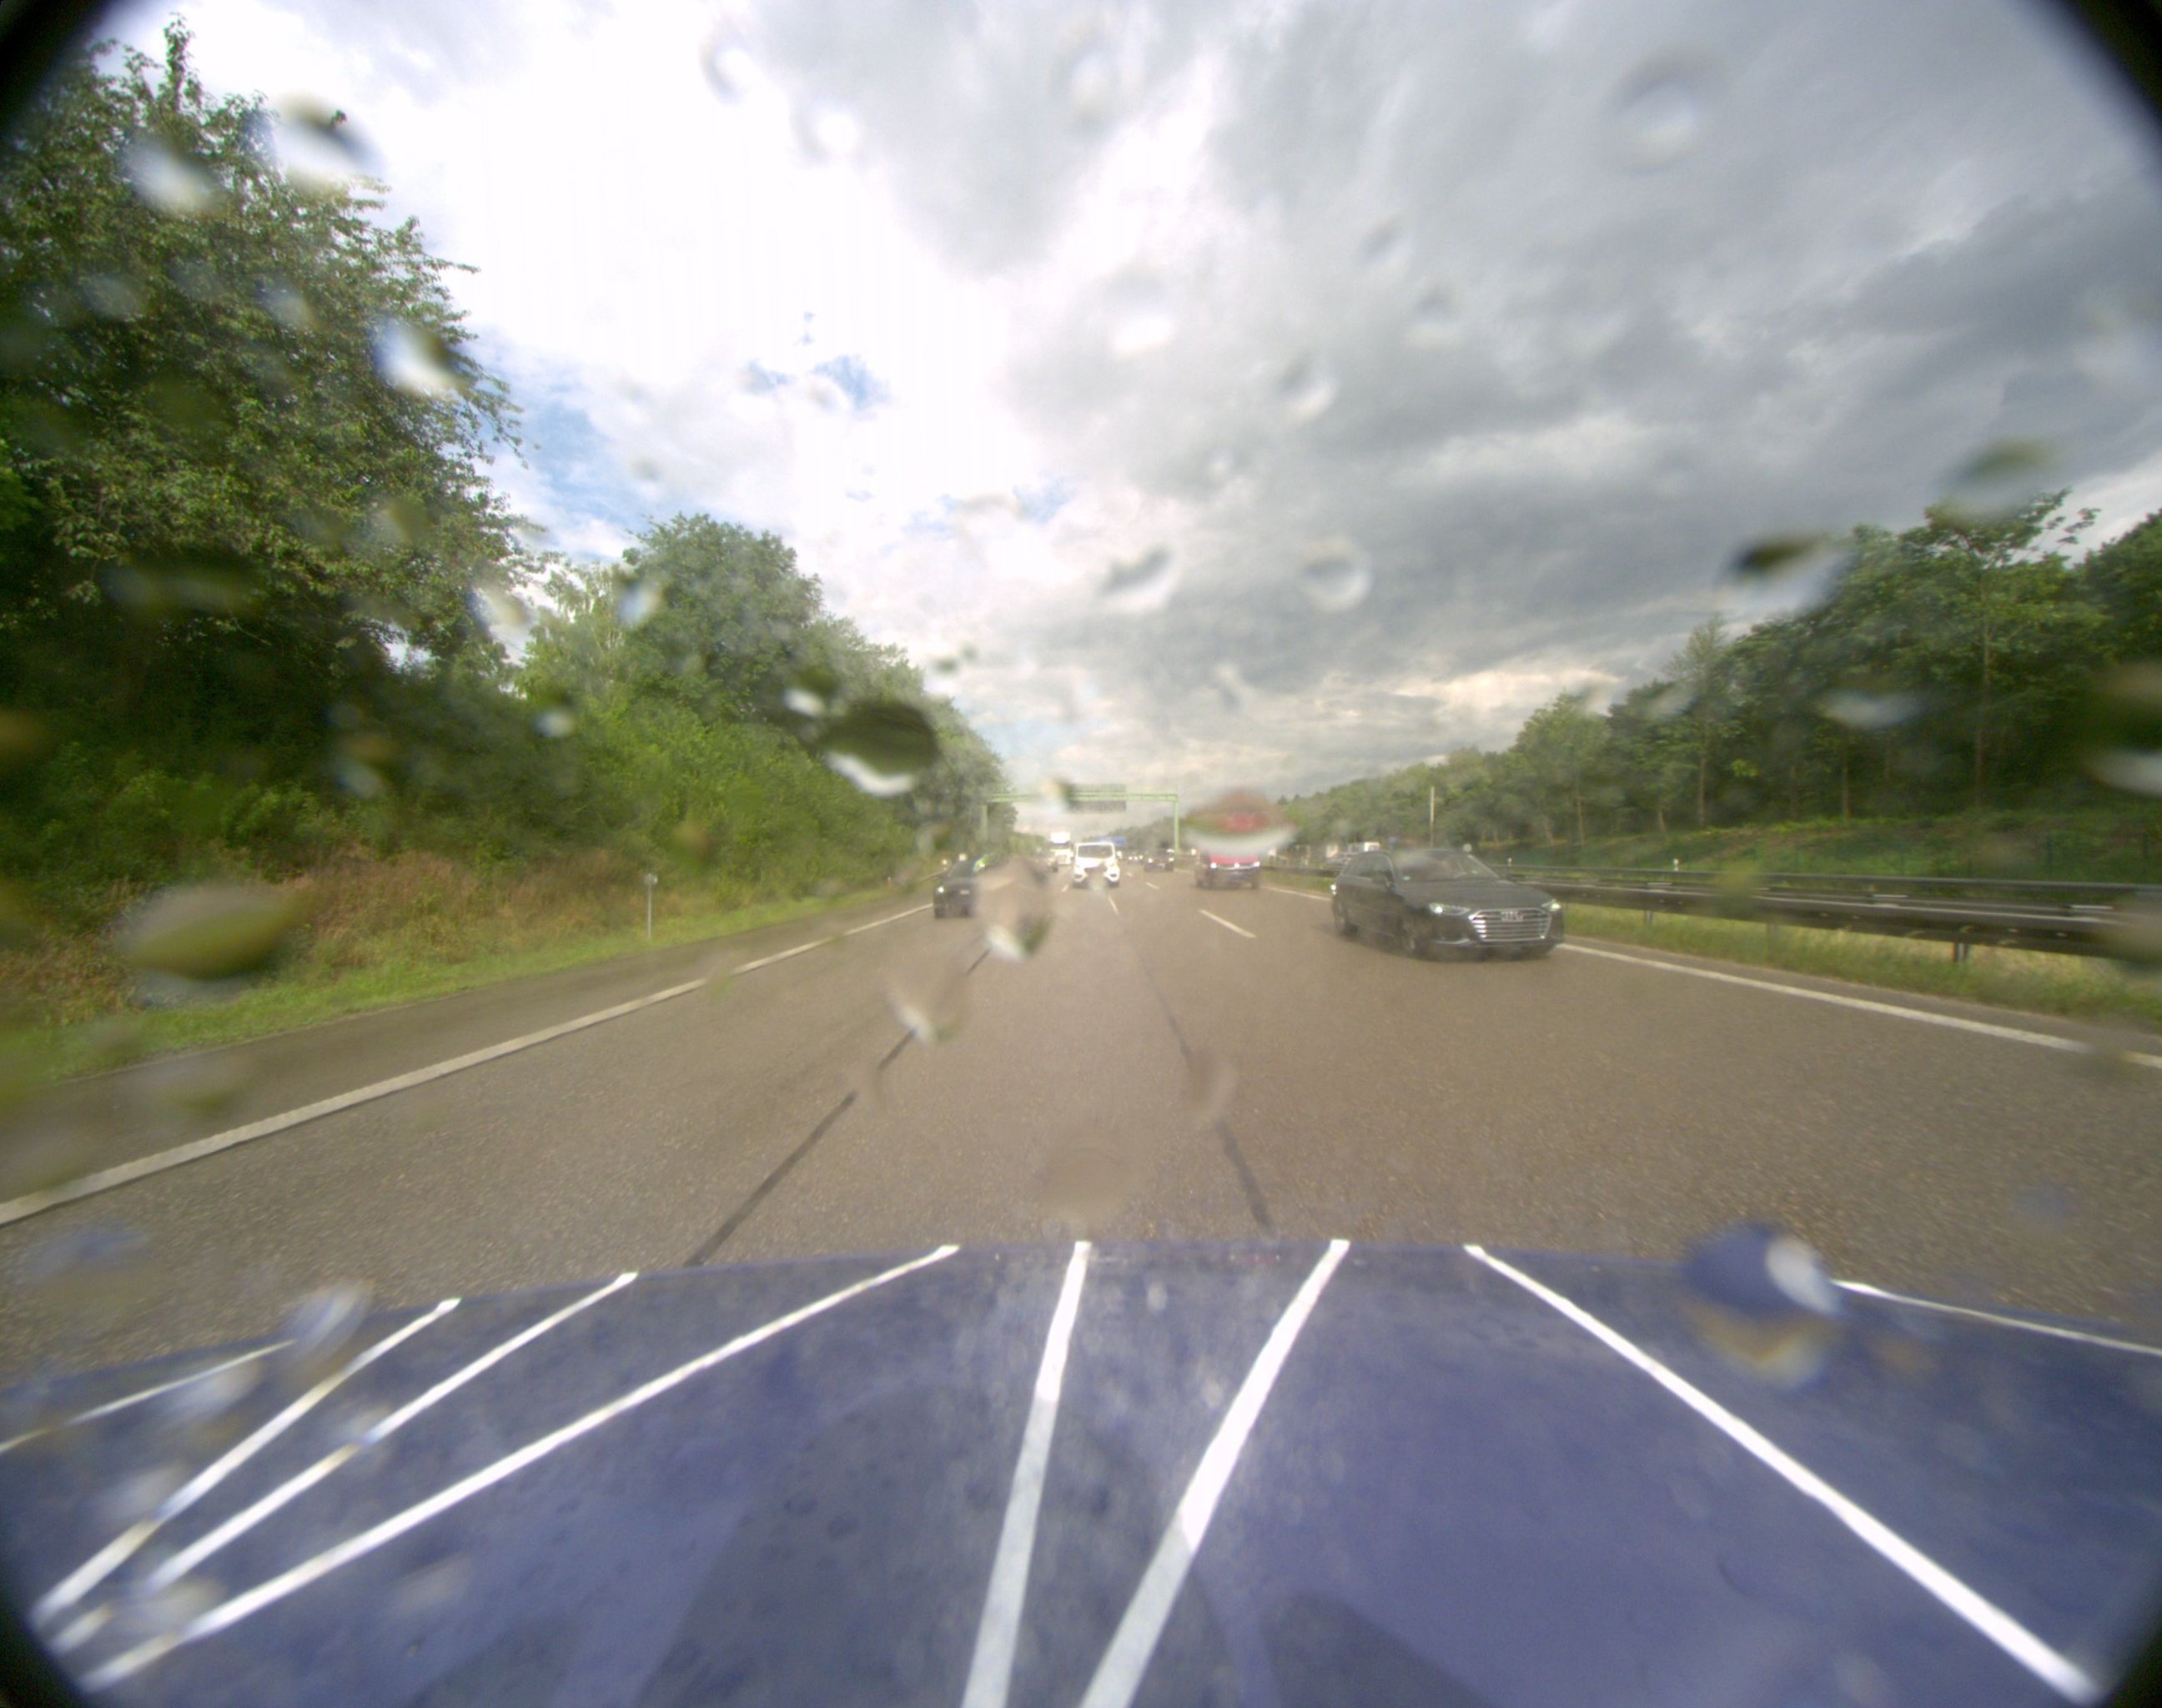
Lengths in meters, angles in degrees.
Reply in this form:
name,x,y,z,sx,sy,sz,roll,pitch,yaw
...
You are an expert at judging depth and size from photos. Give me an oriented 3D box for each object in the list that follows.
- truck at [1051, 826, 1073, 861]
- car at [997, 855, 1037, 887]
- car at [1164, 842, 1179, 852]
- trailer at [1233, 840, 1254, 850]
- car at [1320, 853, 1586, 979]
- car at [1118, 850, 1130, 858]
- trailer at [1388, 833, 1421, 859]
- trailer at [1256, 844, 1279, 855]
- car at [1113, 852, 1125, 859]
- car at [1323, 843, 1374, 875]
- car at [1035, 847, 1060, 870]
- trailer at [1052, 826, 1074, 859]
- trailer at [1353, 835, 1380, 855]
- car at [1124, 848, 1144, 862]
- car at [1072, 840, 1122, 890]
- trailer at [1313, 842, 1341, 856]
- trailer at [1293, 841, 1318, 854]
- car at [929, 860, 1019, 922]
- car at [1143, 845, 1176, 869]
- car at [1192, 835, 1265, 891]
name,x,y,z,sx,sy,sz,roll,pitch,yaw
truck,-2.325,-1.260,94.233,2.460,4.080,5.332,-2,0,0
car,-3.156,0.795,38.056,1.655,1.448,3.744,-2,1,-1
car,15.639,-1.157,131.682,1.913,1.669,4.968,0,1,0
trailer,54.424,-2.936,254.970,3.086,3.253,13.400,0,1,-6
car,5.092,0.726,11.190,1.723,1.403,4.467,-2,1,0
car,7.101,0.059,125.880,1.675,1.228,3.999,-2,0,0
trailer,48.545,-1.295,114.266,1.997,3.673,13.669,-2,1,13
trailer,56.386,-1.452,230.043,3.193,3.253,12.644,0,1,-2
car,6.835,0.295,135.697,1.888,1.228,4.506,-2,0,0
car,18.256,0.324,52.062,1.998,2.002,4.807,-2,1,4
car,-2.827,0.343,65.403,1.831,1.793,5.305,-1,0,0
trailer,-2.296,-1.476,101.950,2.451,4.095,12.214,-2,1,0
trailer,53.782,-1.652,143.410,2.187,3.579,11.725,0,1,8
car,6.046,0.087,86.830,1.895,1.558,4.053,-2,1,0
car,0.656,0.439,33.360,1.985,1.973,5.168,-2,0,0
trailer,57.089,-1.129,176.637,3.026,3.174,12.175,0,0,2
trailer,57.569,-1.779,195.043,2.611,3.253,12.646,0,1,0
car,-2.757,0.909,20.514,1.759,1.388,4.367,-2,1,0
car,5.750,0.209,56.087,1.895,1.660,4.294,-2,1,0
car,5.603,0.314,29.370,1.895,1.973,4.750,-1,0,0
